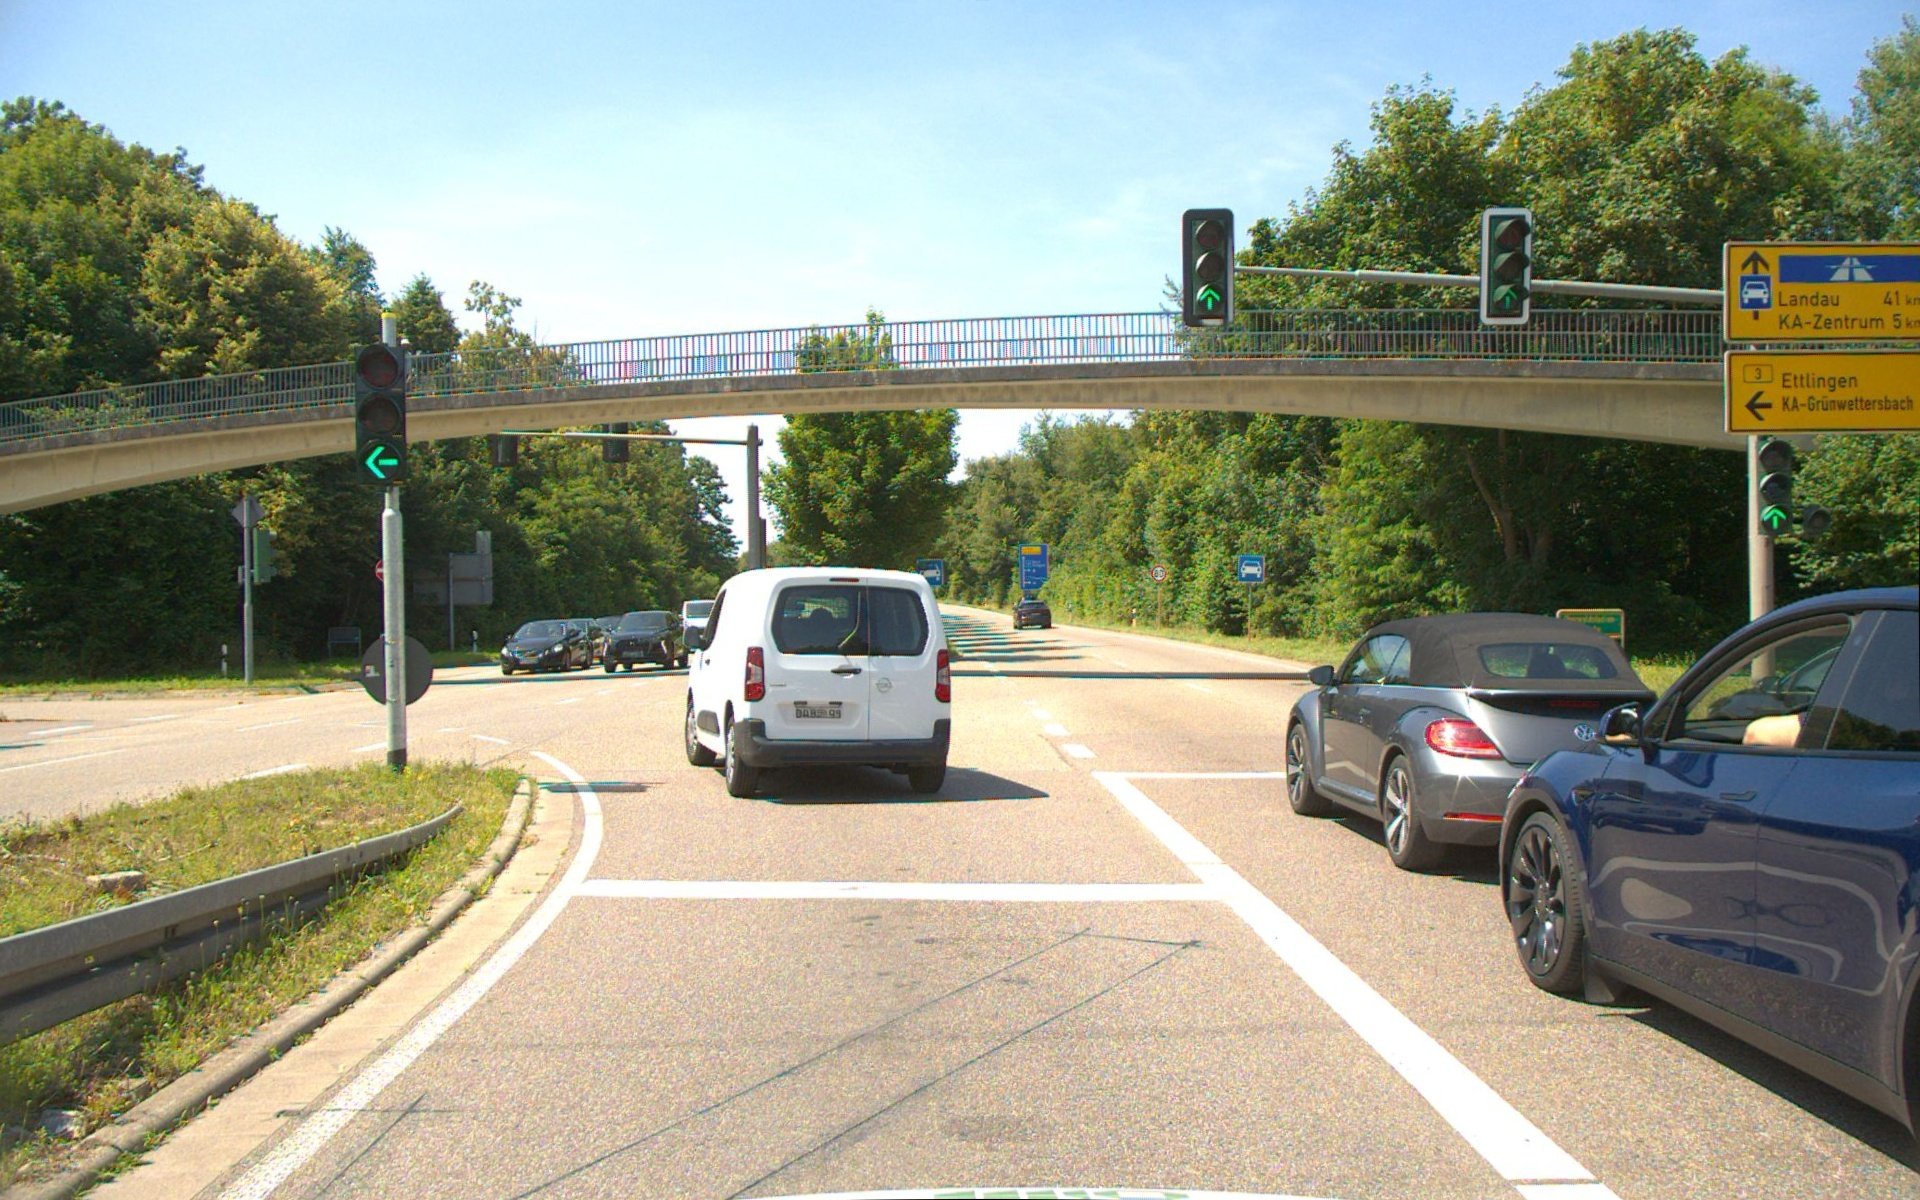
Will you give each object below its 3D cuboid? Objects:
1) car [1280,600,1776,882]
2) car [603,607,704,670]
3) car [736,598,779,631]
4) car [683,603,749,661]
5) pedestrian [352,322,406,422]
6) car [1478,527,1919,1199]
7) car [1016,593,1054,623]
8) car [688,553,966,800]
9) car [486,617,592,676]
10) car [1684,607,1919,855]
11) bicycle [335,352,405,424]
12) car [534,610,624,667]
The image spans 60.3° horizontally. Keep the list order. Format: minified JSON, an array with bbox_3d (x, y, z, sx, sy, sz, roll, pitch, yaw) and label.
[{"bbox_3d":[3.464,0.767,10.933,1.862,1.503,3.938,1,0,-1],"label":"car"},{"bbox_3d":[-8.017,0.975,43.649,1.953,1.550,4.026,-1,0,-1],"label":"car"},{"bbox_3d":[-13.087,0.938,107.145,2.164,2.028,4.732,-2,0,-1],"label":"car"},{"bbox_3d":[-9.238,1.190,63.055,2.166,2.028,5.481,-2,0,-6],"label":"car"},{"bbox_3d":[-13.692,-5.359,39.015,0.765,2.177,0.932,-3,-2,15],"label":"pedestrian"},{"bbox_3d":[3.271,0.670,4.974,1.862,1.673,4.518,1,0,-2],"label":"car"},{"bbox_3d":[4.354,0.441,96.805,2.000,1.728,5.086,-1,0,0],"label":"car"},{"bbox_3d":[-1.312,0.592,14.595,1.818,1.857,3.966,1,0,-14],"label":"car"},{"bbox_3d":[-11.689,1.252,46.182,1.967,1.486,4.054,-2,0,-1],"label":"car"},{"bbox_3d":[6.767,0.816,11.058,1.862,1.503,4.379,1,0,-1],"label":"car"},{"bbox_3d":[-13.779,-4.952,38.630,1.494,1.500,0.470,-3,-2,15],"label":"bicycle"},{"bbox_3d":[-12.126,1.188,52.873,1.953,1.694,3.999,-1,0,-1],"label":"car"}]
